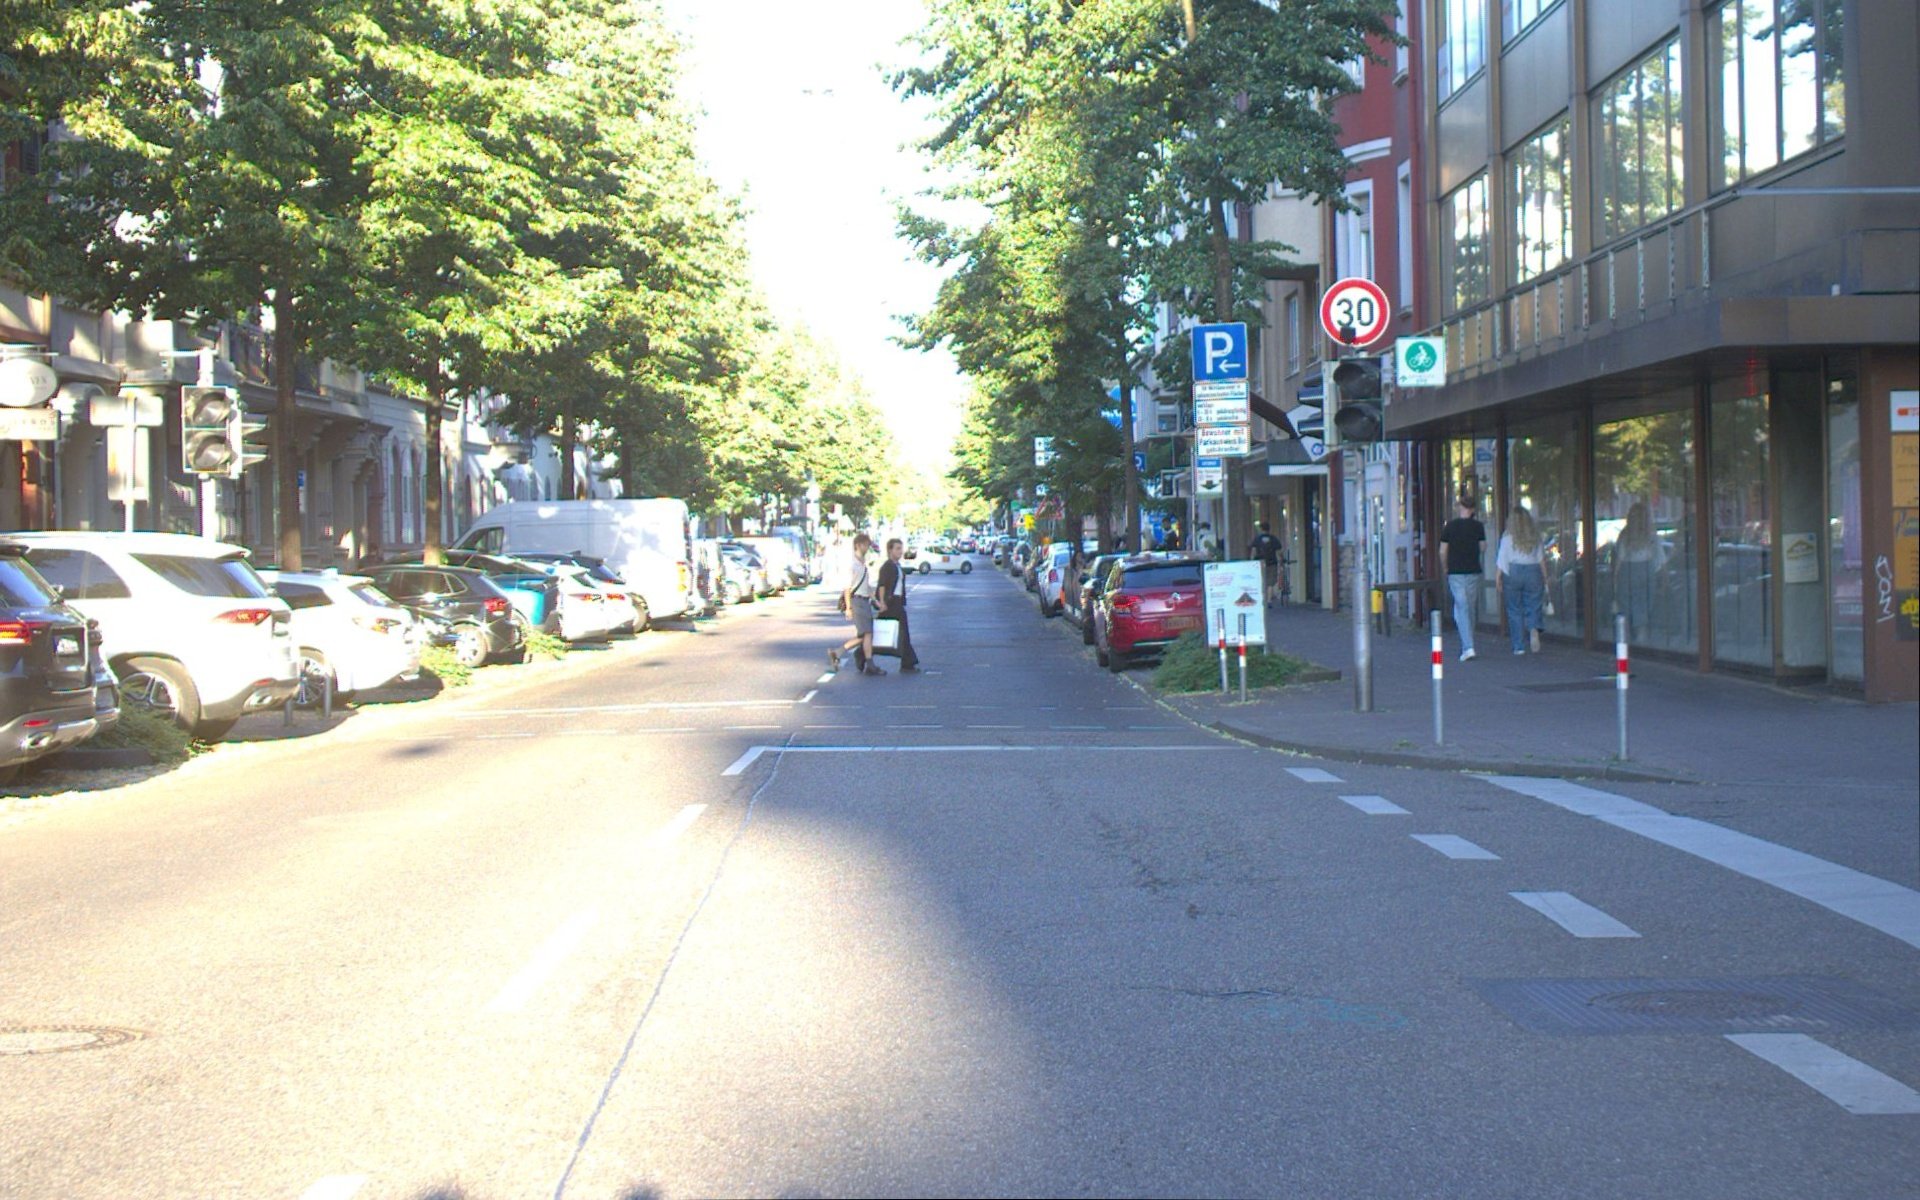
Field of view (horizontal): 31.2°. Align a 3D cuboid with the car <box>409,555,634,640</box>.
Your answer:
[{"bbox_3d":[-7.798,-0.055,61.377,3.739,1.445,2.000,-1,1,0],"label":"car"}]

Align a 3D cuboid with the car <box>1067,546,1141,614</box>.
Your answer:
[{"bbox_3d":[2.787,-0.391,66.727,1.206,1.296,2.661,0,0,-3],"label":"car"}]

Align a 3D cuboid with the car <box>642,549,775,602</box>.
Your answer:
[{"bbox_3d":[-7.344,-0.738,100.568,3.739,1.487,2.000,-1,1,0],"label":"car"}]

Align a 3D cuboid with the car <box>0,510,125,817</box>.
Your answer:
[{"bbox_3d":[-7.693,0.360,21.501,4.449,1.829,2.034,0,1,0],"label":"car"}]

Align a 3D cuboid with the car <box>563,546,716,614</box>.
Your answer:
[{"bbox_3d":[-7.828,-0.501,84.180,3.586,1.589,1.701,-1,1,0],"label":"car"}]

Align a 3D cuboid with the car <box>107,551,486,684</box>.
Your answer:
[{"bbox_3d":[-8.394,0.200,43.766,4.426,1.594,2.000,-1,1,0],"label":"car"}]

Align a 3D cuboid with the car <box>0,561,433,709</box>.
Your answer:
[{"bbox_3d":[-7.806,0.348,36.358,4.175,1.502,2.000,0,1,0],"label":"car"}]

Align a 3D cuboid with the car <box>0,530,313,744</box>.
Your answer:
[{"bbox_3d":[-7.485,0.276,28.275,3.989,1.702,1.833,0,1,0],"label":"car"}]

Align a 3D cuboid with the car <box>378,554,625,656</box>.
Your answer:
[{"bbox_3d":[-7.492,0.071,56.427,3.739,1.590,2.000,-1,1,1],"label":"car"}]

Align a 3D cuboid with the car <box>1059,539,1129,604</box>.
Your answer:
[{"bbox_3d":[2.709,-0.572,69.856,1.206,1.296,2.661,0,0,-3],"label":"car"}]

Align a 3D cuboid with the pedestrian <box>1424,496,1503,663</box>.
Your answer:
[{"bbox_3d":[5.729,-0.243,39.131,0.714,1.859,0.680,-2,1,-2],"label":"pedestrian"}]

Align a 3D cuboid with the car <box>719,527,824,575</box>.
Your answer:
[{"bbox_3d":[-6.880,-1.794,125.573,3.739,1.702,2.000,0,1,0],"label":"car"}]

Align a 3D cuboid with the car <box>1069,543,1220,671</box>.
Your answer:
[{"bbox_3d":[2.375,0.076,44.985,1.576,1.537,3.397,-3,0,-3],"label":"car"}]

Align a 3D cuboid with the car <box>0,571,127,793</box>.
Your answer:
[{"bbox_3d":[-7.955,0.533,23.585,4.032,1.439,1.831,0,1,0],"label":"car"}]

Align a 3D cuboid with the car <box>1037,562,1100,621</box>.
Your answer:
[{"bbox_3d":[2.428,-0.200,76.973,1.206,1.296,2.661,0,0,-3],"label":"car"}]

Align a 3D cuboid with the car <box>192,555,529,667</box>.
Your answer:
[{"bbox_3d":[-8.478,0.142,48.888,4.426,1.498,2.000,-1,1,0],"label":"car"}]

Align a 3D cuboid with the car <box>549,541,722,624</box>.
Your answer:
[{"bbox_3d":[-7.359,-0.413,78.215,3.739,1.852,2.000,0,1,0],"label":"car"}]

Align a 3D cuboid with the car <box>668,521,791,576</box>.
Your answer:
[{"bbox_3d":[-7.230,-1.640,108.270,3.739,1.702,2.000,0,1,0],"label":"car"}]

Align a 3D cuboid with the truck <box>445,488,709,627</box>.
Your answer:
[{"bbox_3d":[-7.516,-0.836,67.748,4.941,2.606,2.000,-1,1,0],"label":"truck"}]

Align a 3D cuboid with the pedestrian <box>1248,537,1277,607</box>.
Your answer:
[{"bbox_3d":[5.933,-0.551,67.500,0.534,1.356,0.534,0,1,1],"label":"pedestrian"}]

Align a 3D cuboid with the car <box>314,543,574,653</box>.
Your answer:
[{"bbox_3d":[-8.009,-0.048,53.581,3.739,1.636,2.000,-1,1,0],"label":"car"}]

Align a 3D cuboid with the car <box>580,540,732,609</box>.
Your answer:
[{"bbox_3d":[-7.830,-0.665,88.789,3.739,1.702,2.000,-1,1,0],"label":"car"}]

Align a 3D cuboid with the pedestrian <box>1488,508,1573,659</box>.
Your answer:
[{"bbox_3d":[6.508,-0.195,39.255,0.765,1.683,0.786,-2,1,-2],"label":"pedestrian"}]

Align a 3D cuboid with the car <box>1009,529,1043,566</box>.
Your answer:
[{"bbox_3d":[2.852,-2.277,149.459,1.308,1.594,2.661,0,0,-3],"label":"car"}]

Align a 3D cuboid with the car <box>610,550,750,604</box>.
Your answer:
[{"bbox_3d":[-7.790,-0.641,95.861,3.739,1.445,2.000,-1,1,0],"label":"car"}]

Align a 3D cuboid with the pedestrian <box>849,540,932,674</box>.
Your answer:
[{"bbox_3d":[-0.891,0.083,43.922,0.721,1.677,0.757,0,1,-40],"label":"pedestrian"}]

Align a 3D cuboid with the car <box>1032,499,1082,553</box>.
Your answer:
[{"bbox_3d":[2.895,-2.213,103.181,1.308,1.594,2.661,0,0,-3],"label":"car"}]

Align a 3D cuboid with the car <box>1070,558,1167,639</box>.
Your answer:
[{"bbox_3d":[2.599,-0.031,56.906,1.304,1.288,3.014,1,0,-3],"label":"car"}]

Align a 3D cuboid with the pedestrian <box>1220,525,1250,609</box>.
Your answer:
[{"bbox_3d":[5.334,-0.638,66.636,0.534,1.616,0.534,0,1,1],"label":"pedestrian"}]

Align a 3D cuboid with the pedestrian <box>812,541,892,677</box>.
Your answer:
[{"bbox_3d":[-1.356,0.101,42.985,0.714,1.667,0.710,-1,2,-40],"label":"pedestrian"}]
